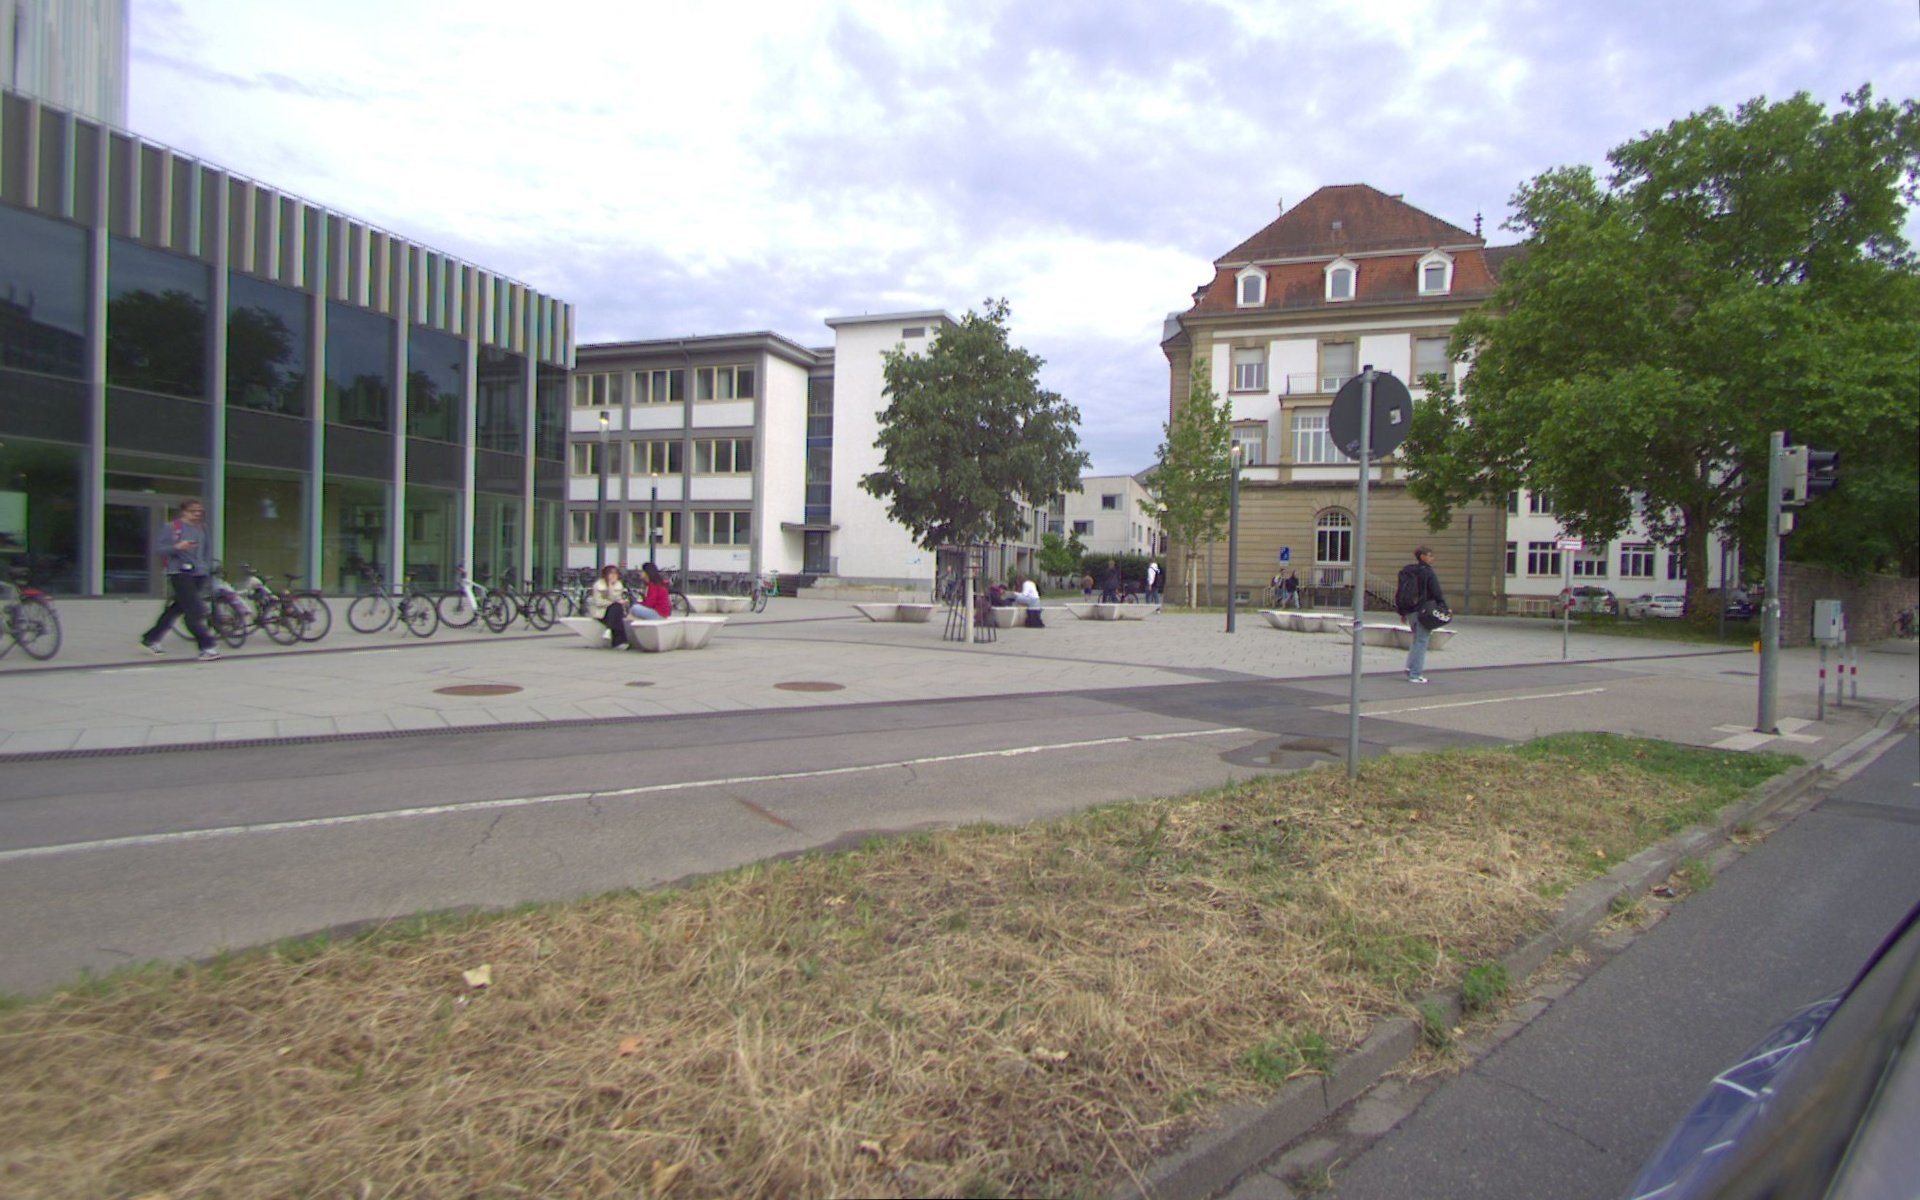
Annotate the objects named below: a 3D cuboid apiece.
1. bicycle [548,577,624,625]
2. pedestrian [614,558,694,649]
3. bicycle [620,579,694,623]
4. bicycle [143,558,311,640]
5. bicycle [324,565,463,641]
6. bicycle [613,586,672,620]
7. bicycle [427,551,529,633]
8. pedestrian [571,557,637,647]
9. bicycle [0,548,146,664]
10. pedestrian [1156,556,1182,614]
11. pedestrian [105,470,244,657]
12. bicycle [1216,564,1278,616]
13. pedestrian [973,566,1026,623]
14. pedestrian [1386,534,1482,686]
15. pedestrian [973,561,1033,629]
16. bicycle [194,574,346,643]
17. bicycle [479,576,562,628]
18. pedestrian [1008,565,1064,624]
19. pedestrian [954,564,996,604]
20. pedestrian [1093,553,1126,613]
[{"bbox_3d":[-7.484,0.016,20.291,1.335,0.910,0.541,2,1,11],"label":"bicycle"},{"bbox_3d":[-4.257,0.038,14.137,0.877,1.221,0.846,1,1,-2],"label":"pedestrian"},{"bbox_3d":[-6.796,0.016,22.706,1.526,0.910,0.508,2,1,11],"label":"bicycle"},{"bbox_3d":[-9.957,-0.032,13.764,1.930,1.014,0.772,2,1,13],"label":"bicycle"},{"bbox_3d":[-8.910,0.024,15.905,2.169,1.018,0.775,4,2,25],"label":"bicycle"},{"bbox_3d":[-7.225,0.059,23.022,1.168,0.699,0.489,3,1,11],"label":"bicycle"},{"bbox_3d":[-8.533,-0.156,17.883,1.994,1.322,0.638,4,1,33],"label":"bicycle"},{"bbox_3d":[-4.989,0.017,14.157,0.827,1.208,0.896,1,1,-22],"label":"pedestrian"},{"bbox_3d":[-10.591,0.020,11.359,2.679,1.202,0.771,2,1,13],"label":"bicycle"},{"bbox_3d":[7.269,-0.521,35.207,0.651,1.983,0.678,2,1,36],"label":"pedestrian"},{"bbox_3d":[-9.302,-0.403,12.060,1.162,2.088,1.136,1,-1,-31],"label":"pedestrian"},{"bbox_3d":[8.449,-0.310,29.827,1.636,1.488,0.596,2,1,34],"label":"bicycle"},{"bbox_3d":[0.895,-0.116,23.048,0.861,1.273,0.912,1,-1,-33],"label":"pedestrian"},{"bbox_3d":[6.620,0.127,14.141,0.877,2.039,0.845,1,1,-34],"label":"pedestrian"},{"bbox_3d":[0.904,-0.108,21.206,0.909,1.385,0.864,0,-1,44],"label":"pedestrian"},{"bbox_3d":[-9.954,0.109,14.618,1.813,0.910,0.671,2,1,6],"label":"bicycle"},{"bbox_3d":[-8.216,0.029,18.913,1.449,0.910,0.393,2,1,11],"label":"bicycle"},{"bbox_3d":[1.660,-0.115,22.169,0.861,1.273,0.912,1,-1,-33],"label":"pedestrian"},{"bbox_3d":[0.320,-0.355,21.992,0.718,0.833,0.638,0,2,-20],"label":"pedestrian"},{"bbox_3d":[4.900,-0.565,33.182,0.734,1.909,0.878,2,1,35],"label":"pedestrian"}]
